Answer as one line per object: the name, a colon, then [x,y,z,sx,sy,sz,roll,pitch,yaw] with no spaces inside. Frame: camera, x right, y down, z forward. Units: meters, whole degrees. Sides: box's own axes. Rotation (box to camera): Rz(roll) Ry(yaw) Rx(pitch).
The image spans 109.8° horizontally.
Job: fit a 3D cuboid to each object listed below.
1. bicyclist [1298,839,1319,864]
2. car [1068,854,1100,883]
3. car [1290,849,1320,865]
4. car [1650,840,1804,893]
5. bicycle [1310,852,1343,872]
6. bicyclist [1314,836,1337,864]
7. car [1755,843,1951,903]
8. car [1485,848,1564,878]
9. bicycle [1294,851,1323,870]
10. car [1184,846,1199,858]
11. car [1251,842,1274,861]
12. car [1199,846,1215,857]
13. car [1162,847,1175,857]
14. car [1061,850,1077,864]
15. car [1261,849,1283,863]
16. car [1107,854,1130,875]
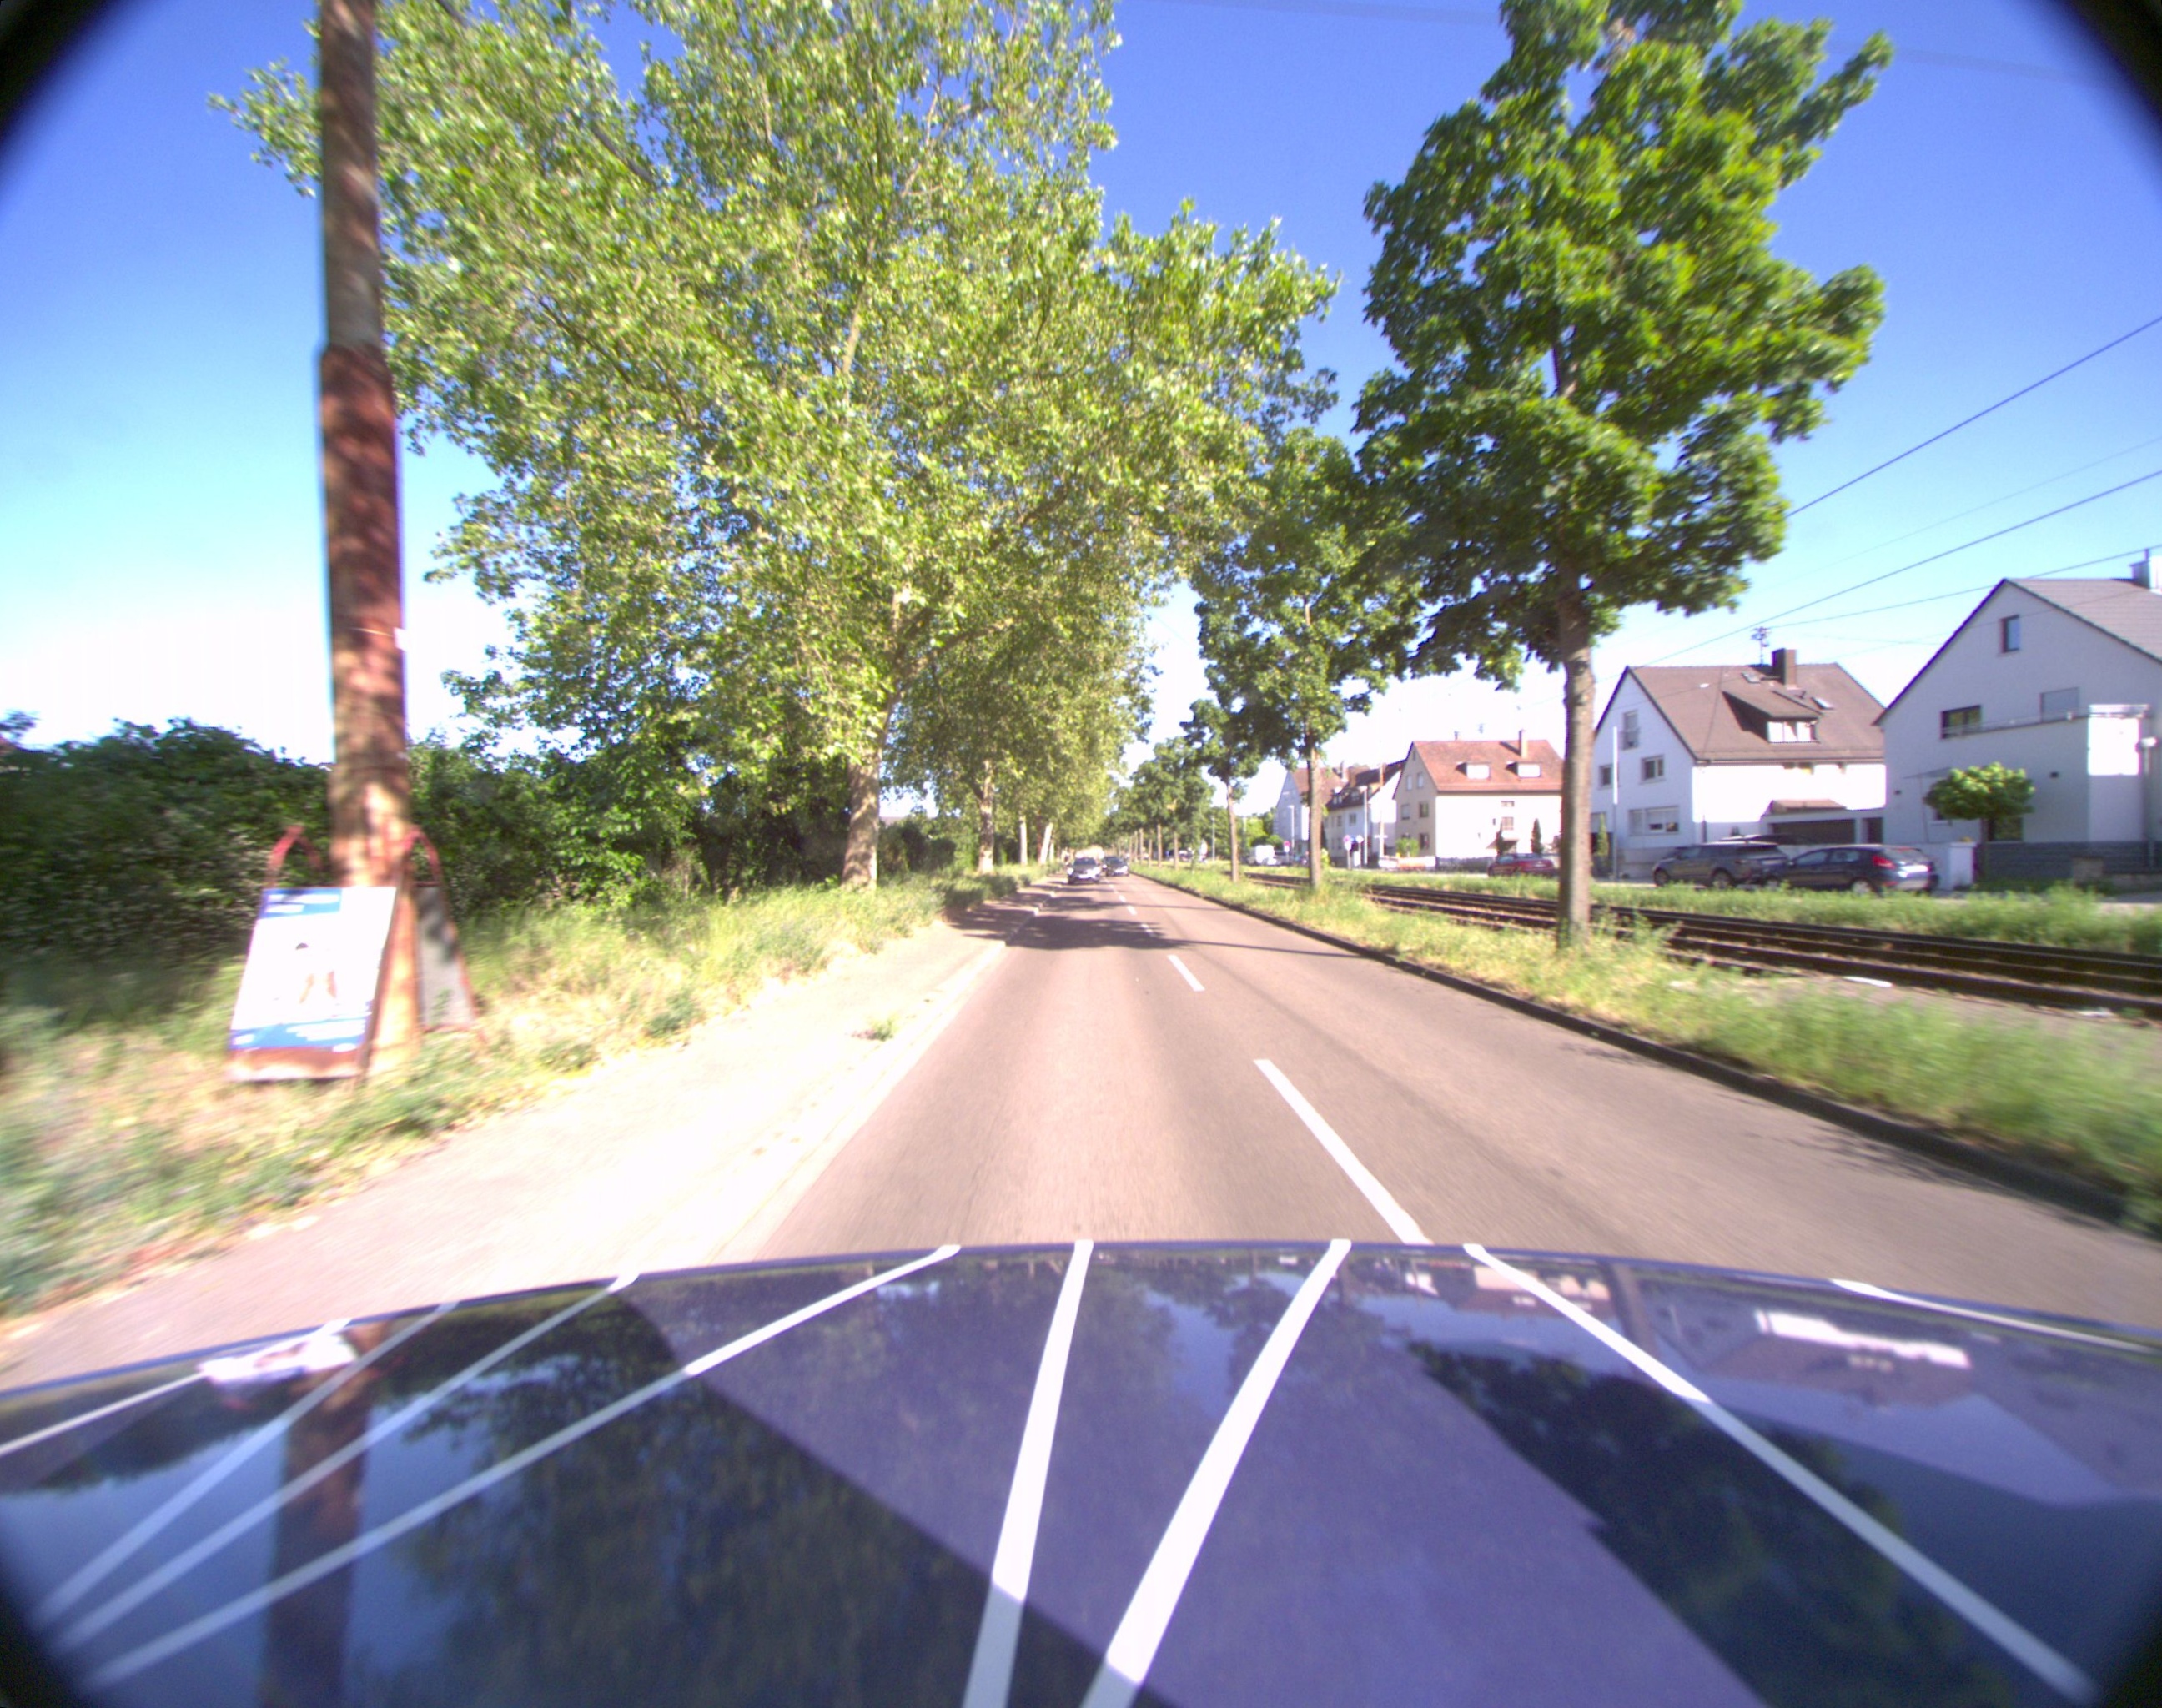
bicyclist: [19.939,-0.211,66.563,1.354,2.147,1.308,-2,1,1]
car: [0.183,0.808,43.471,1.692,1.499,3.582,-2,1,1]
car: [22.333,0.293,75.813,1.791,1.497,4.000,-2,1,1]
car: [21.565,0.380,25.600,1.802,1.588,4.011,-2,1,1]
bicycle: [19.821,0.658,61.465,1.354,1.486,4.000,-2,1,1]
bicyclist: [19.767,-0.317,61.444,1.310,2.220,1.623,-2,1,1]
car: [21.588,0.469,21.493,1.738,1.481,3.755,-2,1,1]
car: [22.070,0.425,38.001,1.756,1.373,3.823,-2,1,1]
bicycle: [19.997,0.532,66.974,1.354,1.568,4.000,-2,1,1]
car: [20.042,-0.366,137.800,2.133,2.023,3.999,-2,1,0]
car: [22.555,-0.353,94.459,2.132,2.210,4.000,-2,1,4]
car: [22.784,-0.468,137.630,2.133,2.023,3.999,-2,1,0]
car: [17.626,-0.424,152.635,2.133,2.023,3.999,-2,1,0]
car: [-1.391,0.287,86.870,1.692,1.499,3.582,-2,1,1]
car: [22.505,0.234,89.637,1.791,1.497,4.000,-2,1,4]
car: [2.940,0.775,60.124,1.692,1.499,3.582,-2,1,1]
